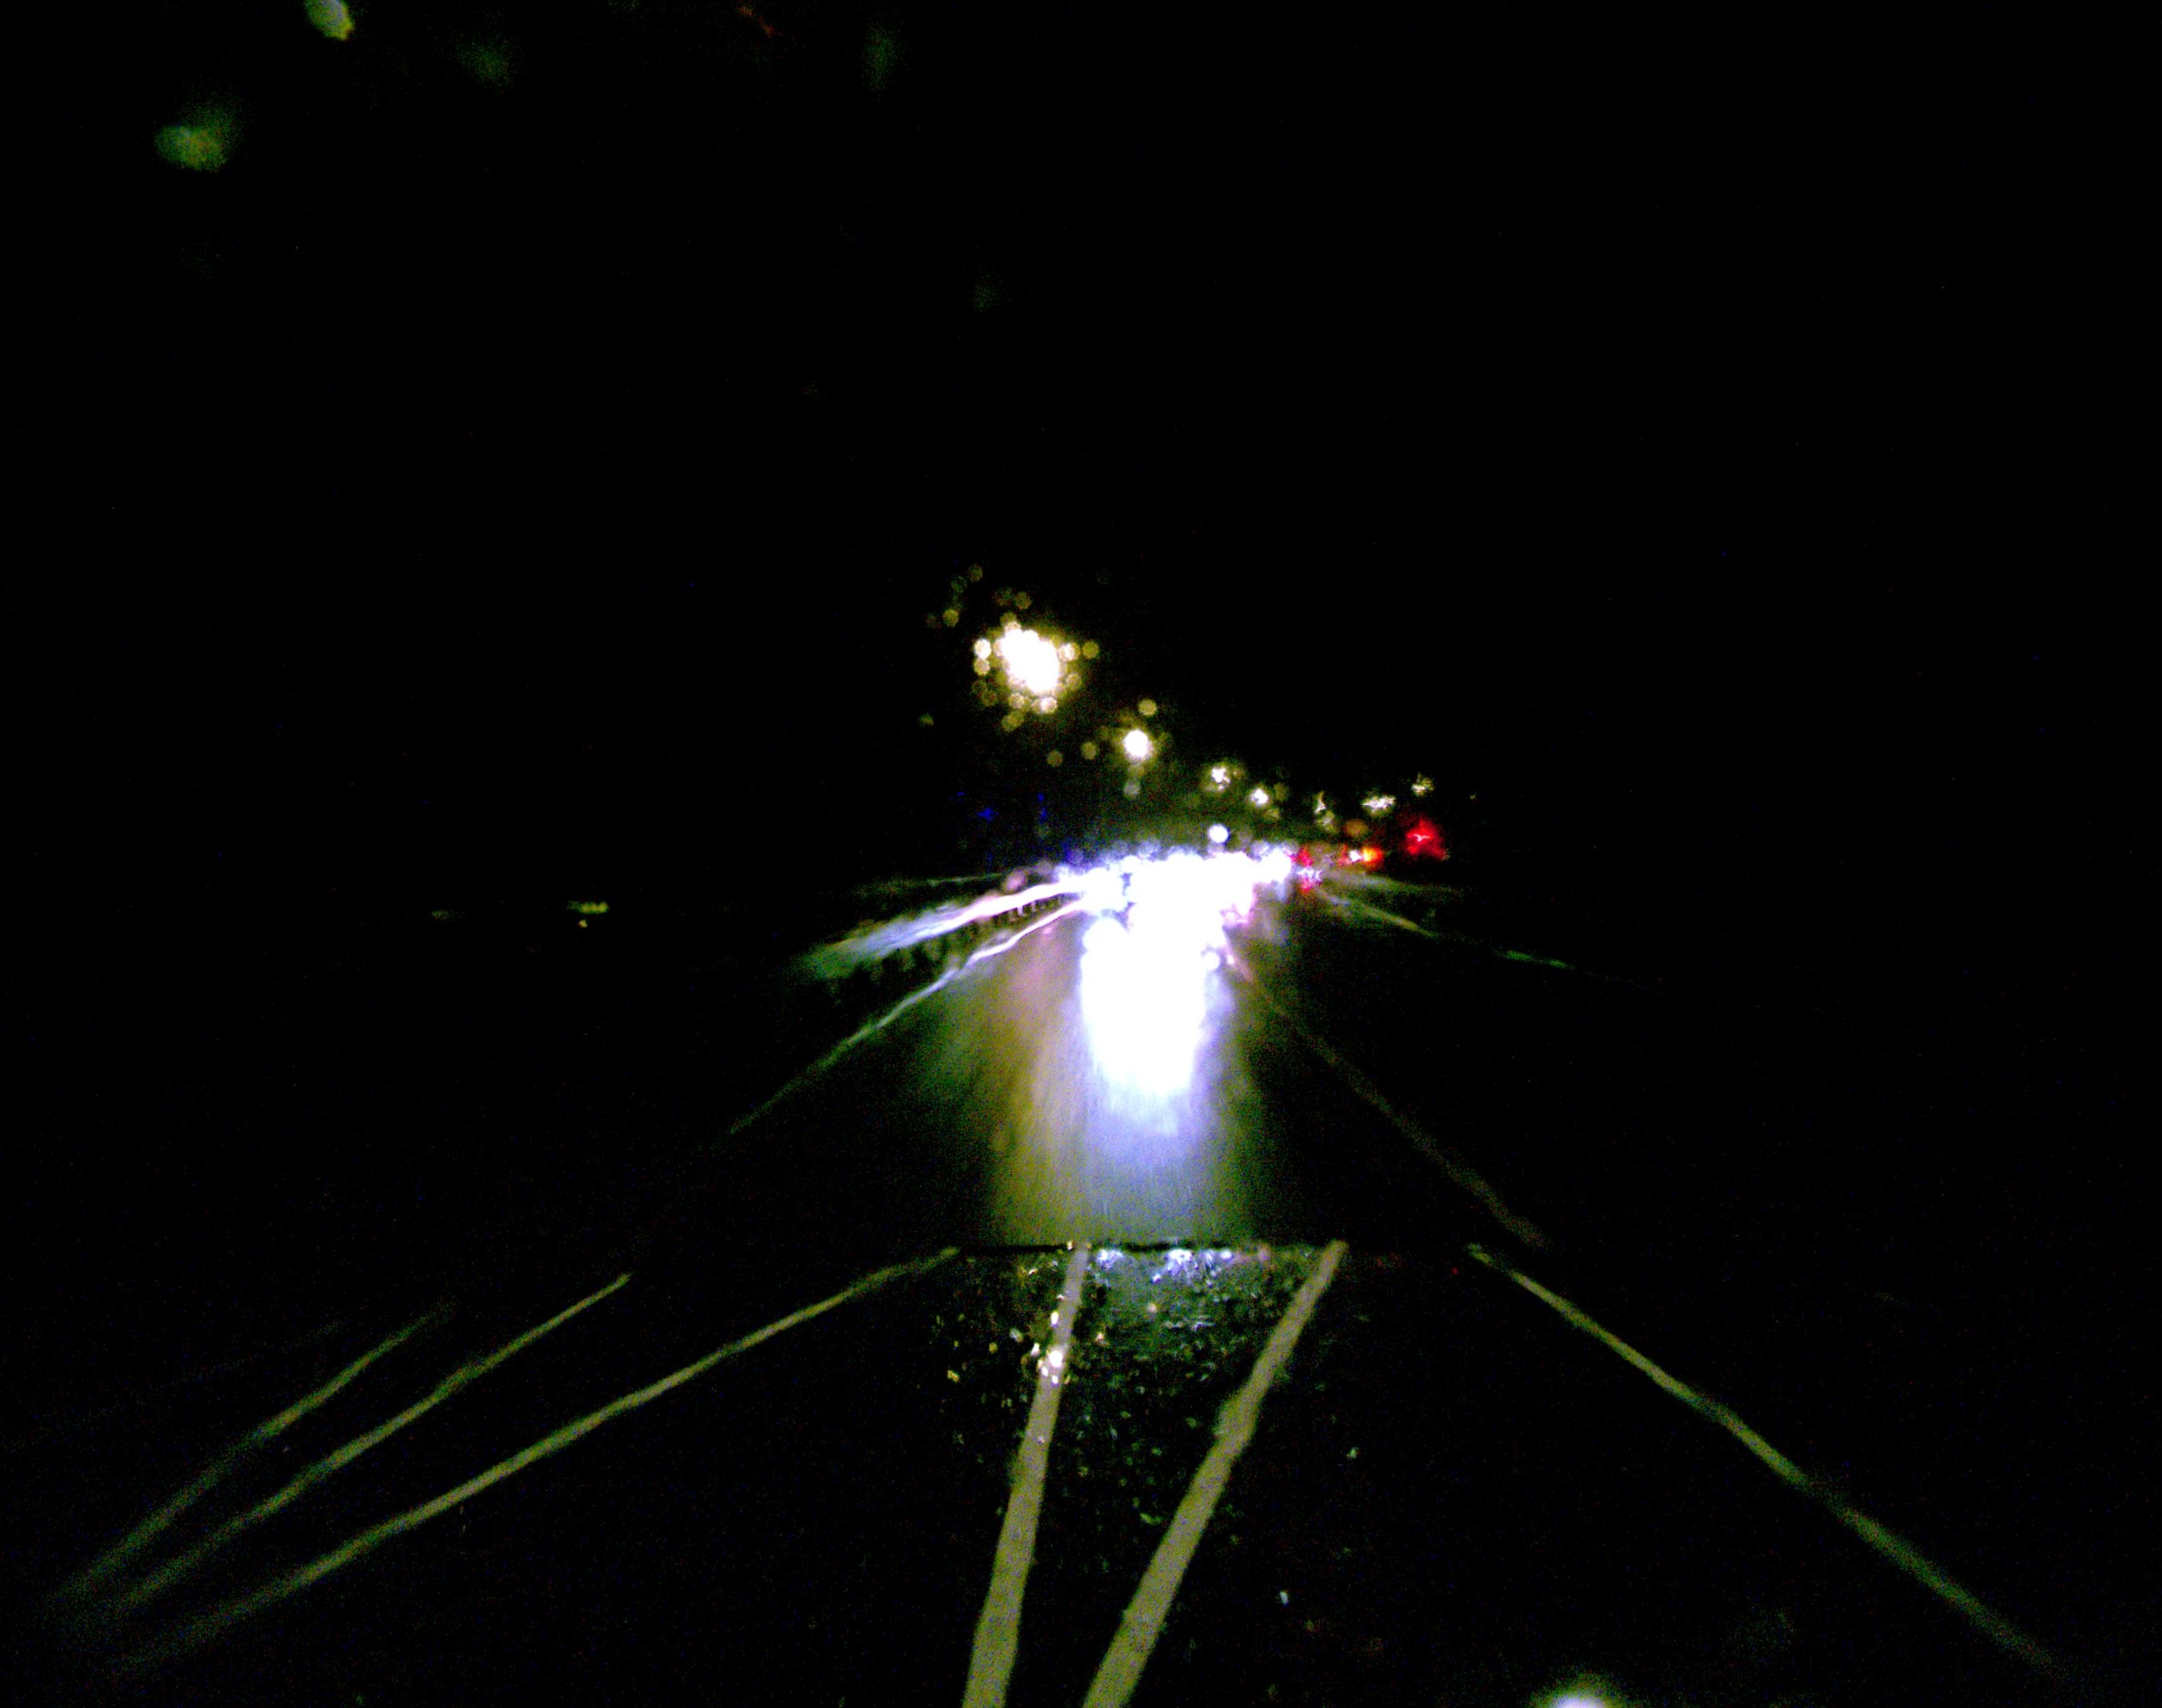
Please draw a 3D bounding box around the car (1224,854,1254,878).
[{"bbox_3d":[12.148,0.885,58.206,1.303,1.519,3.051,-9,-2,26],"label":"car"}]

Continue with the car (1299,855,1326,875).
[{"bbox_3d":[25.965,1.191,85.148,1.653,2.000,4.008,-10,-5,31],"label":"car"}]

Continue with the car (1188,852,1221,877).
[{"bbox_3d":[7.870,0.635,48.282,1.520,1.516,3.111,-1,-1,19],"label":"car"}]

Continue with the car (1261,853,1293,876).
[{"bbox_3d":[18.914,0.991,73.094,1.653,2.000,4.008,-10,-5,30],"label":"car"}]

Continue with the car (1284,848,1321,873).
[{"bbox_3d":[16.033,0.463,54.892,2.024,1.709,4.989,-1,1,22],"label":"car"}]

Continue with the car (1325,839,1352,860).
[{"bbox_3d":[22.941,-0.419,67.704,1.755,1.850,4.007,1,1,26],"label":"car"}]

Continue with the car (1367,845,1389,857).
[{"bbox_3d":[33.681,-0.346,86.151,1.815,1.396,4.056,0,0,29],"label":"car"}]

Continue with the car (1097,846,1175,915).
[{"bbox_3d":[1.634,0.683,21.179,1.926,1.704,4.241,1,-1,7],"label":"car"}]

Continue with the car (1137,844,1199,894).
[{"bbox_3d":[3.880,0.614,33.230,1.996,2.002,4.004,-2,0,16],"label":"car"}]
